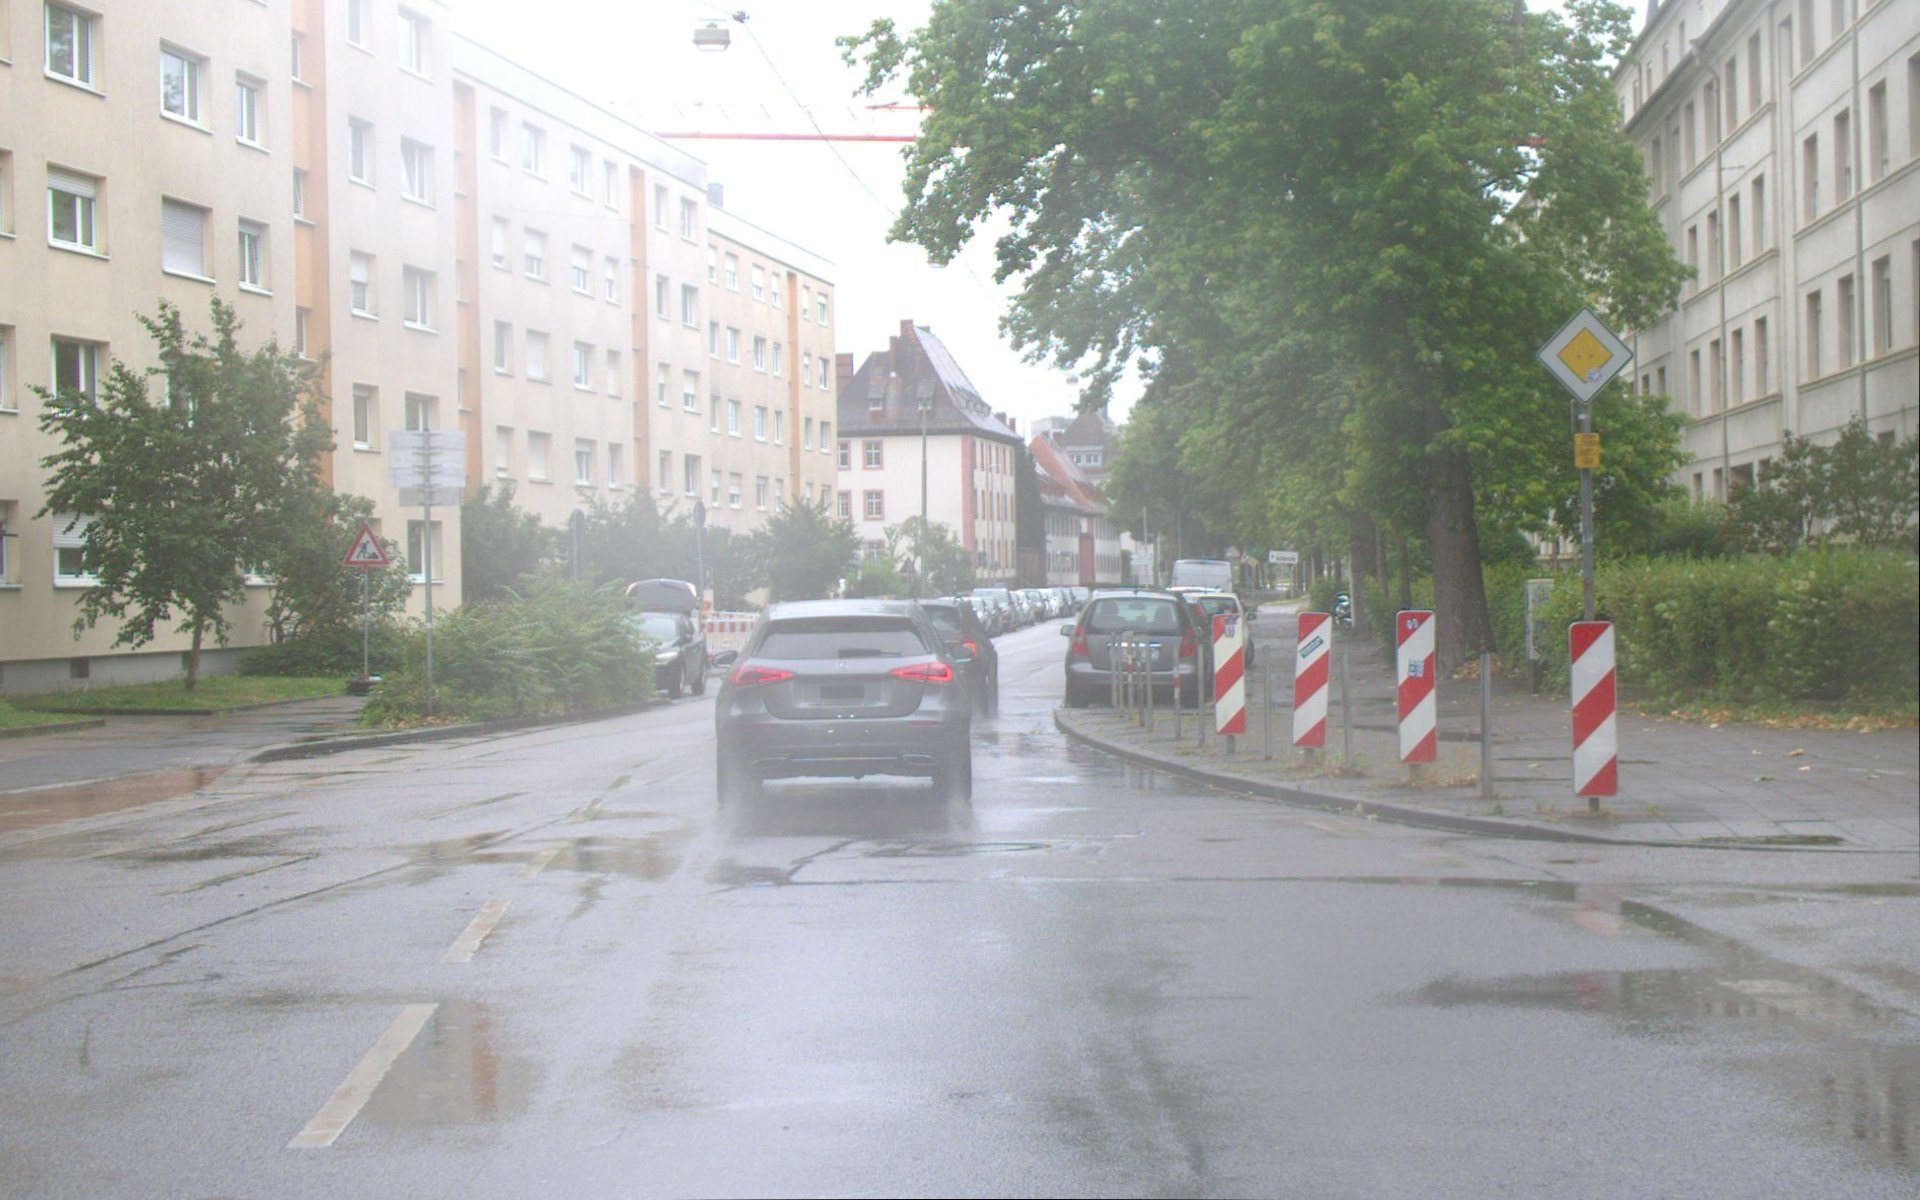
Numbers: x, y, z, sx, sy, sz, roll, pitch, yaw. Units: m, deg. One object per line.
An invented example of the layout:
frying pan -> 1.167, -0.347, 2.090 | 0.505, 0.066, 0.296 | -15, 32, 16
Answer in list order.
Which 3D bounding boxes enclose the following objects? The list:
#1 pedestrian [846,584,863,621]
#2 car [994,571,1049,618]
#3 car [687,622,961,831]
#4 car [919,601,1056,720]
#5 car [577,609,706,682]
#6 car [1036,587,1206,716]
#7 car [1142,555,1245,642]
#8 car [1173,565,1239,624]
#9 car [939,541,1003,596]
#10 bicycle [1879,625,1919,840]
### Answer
pedestrian -> -3.899, 0.095, 127.070 | 0.529, 1.353, 0.585 | 0, 0, 9
car -> 2.456, -0.222, 137.159 | 1.890, 1.830, 3.999 | -1, 0, 5
car -> -0.919, 0.865, 25.006 | 1.791, 1.368, 3.507 | 0, 0, 1
car -> 0.366, 0.733, 43.444 | 1.607, 1.368, 4.000 | -2, 0, 1
car -> -5.543, 0.774, 60.218 | 1.590, 1.202, 3.459 | -1, 0, 6
car -> 2.050, 0.650, 44.747 | 1.993, 1.568, 4.000 | -1, 0, 0
car -> 4.511, -0.022, 65.980 | 1.890, 1.568, 3.999 | -1, 0, 5
car -> 8.064, -0.177, 112.519 | 2.047, 1.830, 4.791 | -1, 0, 5
car -> 0.390, -1.079, 120.286 | 1.890, 1.830, 3.999 | -1, 0, 5
bicycle -> 6.560, 0.663, 18.161 | 3.205, 1.108, 1.054 | -1, 1, -17
